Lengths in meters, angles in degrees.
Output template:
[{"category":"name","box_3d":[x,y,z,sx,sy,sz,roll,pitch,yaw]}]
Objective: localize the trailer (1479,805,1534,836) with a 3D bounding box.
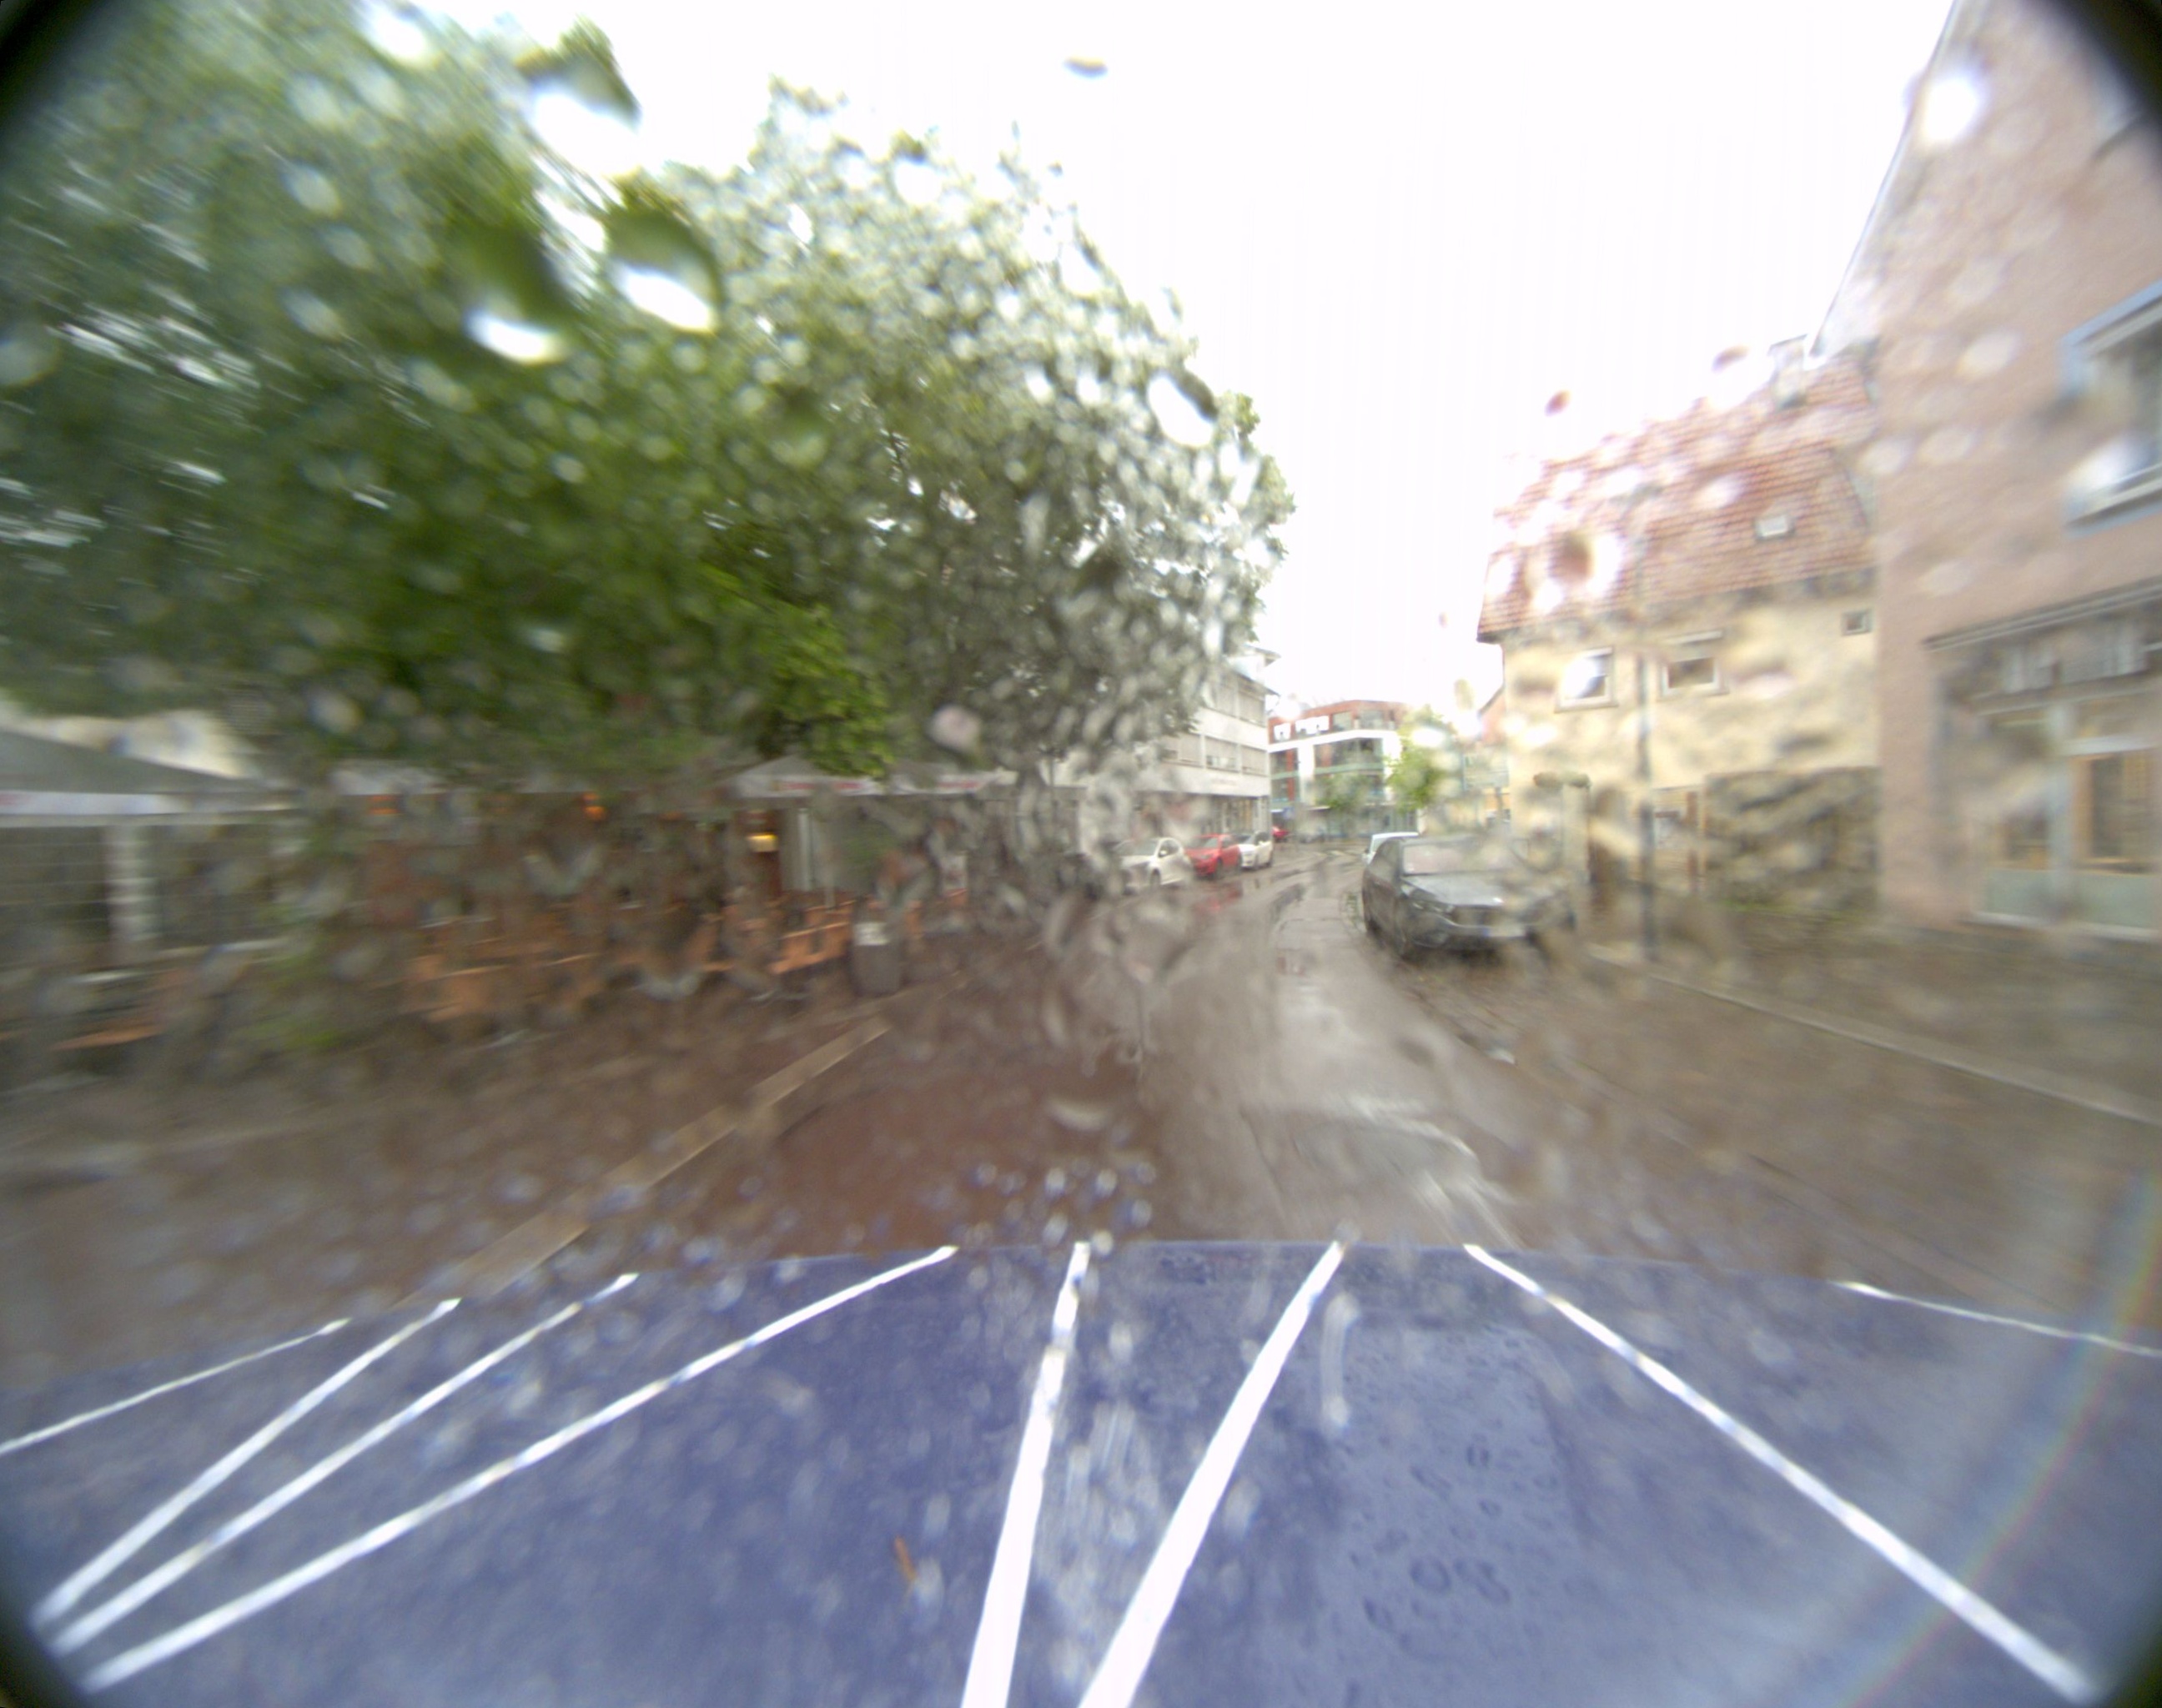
[{"category":"trailer","box_3d":[32.801,-2.569,58.624,1.839,2.075,3.086,-3,-1,-37]}]

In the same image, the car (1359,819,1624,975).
[{"category":"car","box_3d":[4.959,0.399,9.936,1.878,1.532,4.403,-3,1,13]}]

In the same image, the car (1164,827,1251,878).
[{"category":"car","box_3d":[4.543,-0.105,26.890,1.789,1.461,3.954,-2,3,28]}]

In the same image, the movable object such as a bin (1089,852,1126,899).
[{"category":"movable object such as a bin","box_3d":[0.655,0.534,18.623,0.726,1.077,0.605,-2,4,17]}]

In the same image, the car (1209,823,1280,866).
[{"category":"car","box_3d":[6.891,-0.446,31.704,1.789,1.590,4.446,-2,2,27]}]

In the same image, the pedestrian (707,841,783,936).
[{"category":"pedestrian","box_3d":[-6.440,0.634,14.582,0.885,1.704,0.891,-1,4,38]}]

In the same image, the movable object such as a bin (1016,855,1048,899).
[{"category":"movable object such as a bin","box_3d":[-1.268,0.583,19.695,0.538,1.077,0.729,0,2,24]}]

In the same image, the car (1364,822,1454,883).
[{"category":"car","box_3d":[8.907,-0.073,20.939,1.851,1.443,4.077,-2,0,18]}]

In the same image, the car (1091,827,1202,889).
[{"category":"car","box_3d":[1.986,0.053,21.938,1.789,1.547,3.955,-1,2,27]}]

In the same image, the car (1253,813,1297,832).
[{"category":"car","box_3d":[18.494,-2.988,72.463,1.806,1.546,3.911,-5,3,-29]}]

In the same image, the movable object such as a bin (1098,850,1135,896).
[{"category":"movable object such as a bin","box_3d":[0.904,0.487,19.255,0.726,1.087,0.611,-2,4,17]}]

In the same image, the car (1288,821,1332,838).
[{"category":"car","box_3d":[20.515,-2.170,68.160,1.682,1.428,3.577,-5,3,-29]}]

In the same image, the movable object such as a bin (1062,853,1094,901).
[{"category":"movable object such as a bin","box_3d":[-0.065,0.564,19.036,0.538,1.136,0.729,0,2,24]}]

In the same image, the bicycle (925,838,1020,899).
[{"category":"bicycle","box_3d":[-2.647,0.318,18.806,0.925,1.343,2.220,2,4,42]}]

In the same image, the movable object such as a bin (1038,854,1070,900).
[{"category":"movable object such as a bin","box_3d":[-0.679,0.571,19.311,0.538,1.124,0.729,0,2,24]}]

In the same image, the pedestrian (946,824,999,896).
[{"category":"pedestrian","box_3d":[-2.676,0.133,18.770,0.910,1.689,0.863,2,5,42]}]
